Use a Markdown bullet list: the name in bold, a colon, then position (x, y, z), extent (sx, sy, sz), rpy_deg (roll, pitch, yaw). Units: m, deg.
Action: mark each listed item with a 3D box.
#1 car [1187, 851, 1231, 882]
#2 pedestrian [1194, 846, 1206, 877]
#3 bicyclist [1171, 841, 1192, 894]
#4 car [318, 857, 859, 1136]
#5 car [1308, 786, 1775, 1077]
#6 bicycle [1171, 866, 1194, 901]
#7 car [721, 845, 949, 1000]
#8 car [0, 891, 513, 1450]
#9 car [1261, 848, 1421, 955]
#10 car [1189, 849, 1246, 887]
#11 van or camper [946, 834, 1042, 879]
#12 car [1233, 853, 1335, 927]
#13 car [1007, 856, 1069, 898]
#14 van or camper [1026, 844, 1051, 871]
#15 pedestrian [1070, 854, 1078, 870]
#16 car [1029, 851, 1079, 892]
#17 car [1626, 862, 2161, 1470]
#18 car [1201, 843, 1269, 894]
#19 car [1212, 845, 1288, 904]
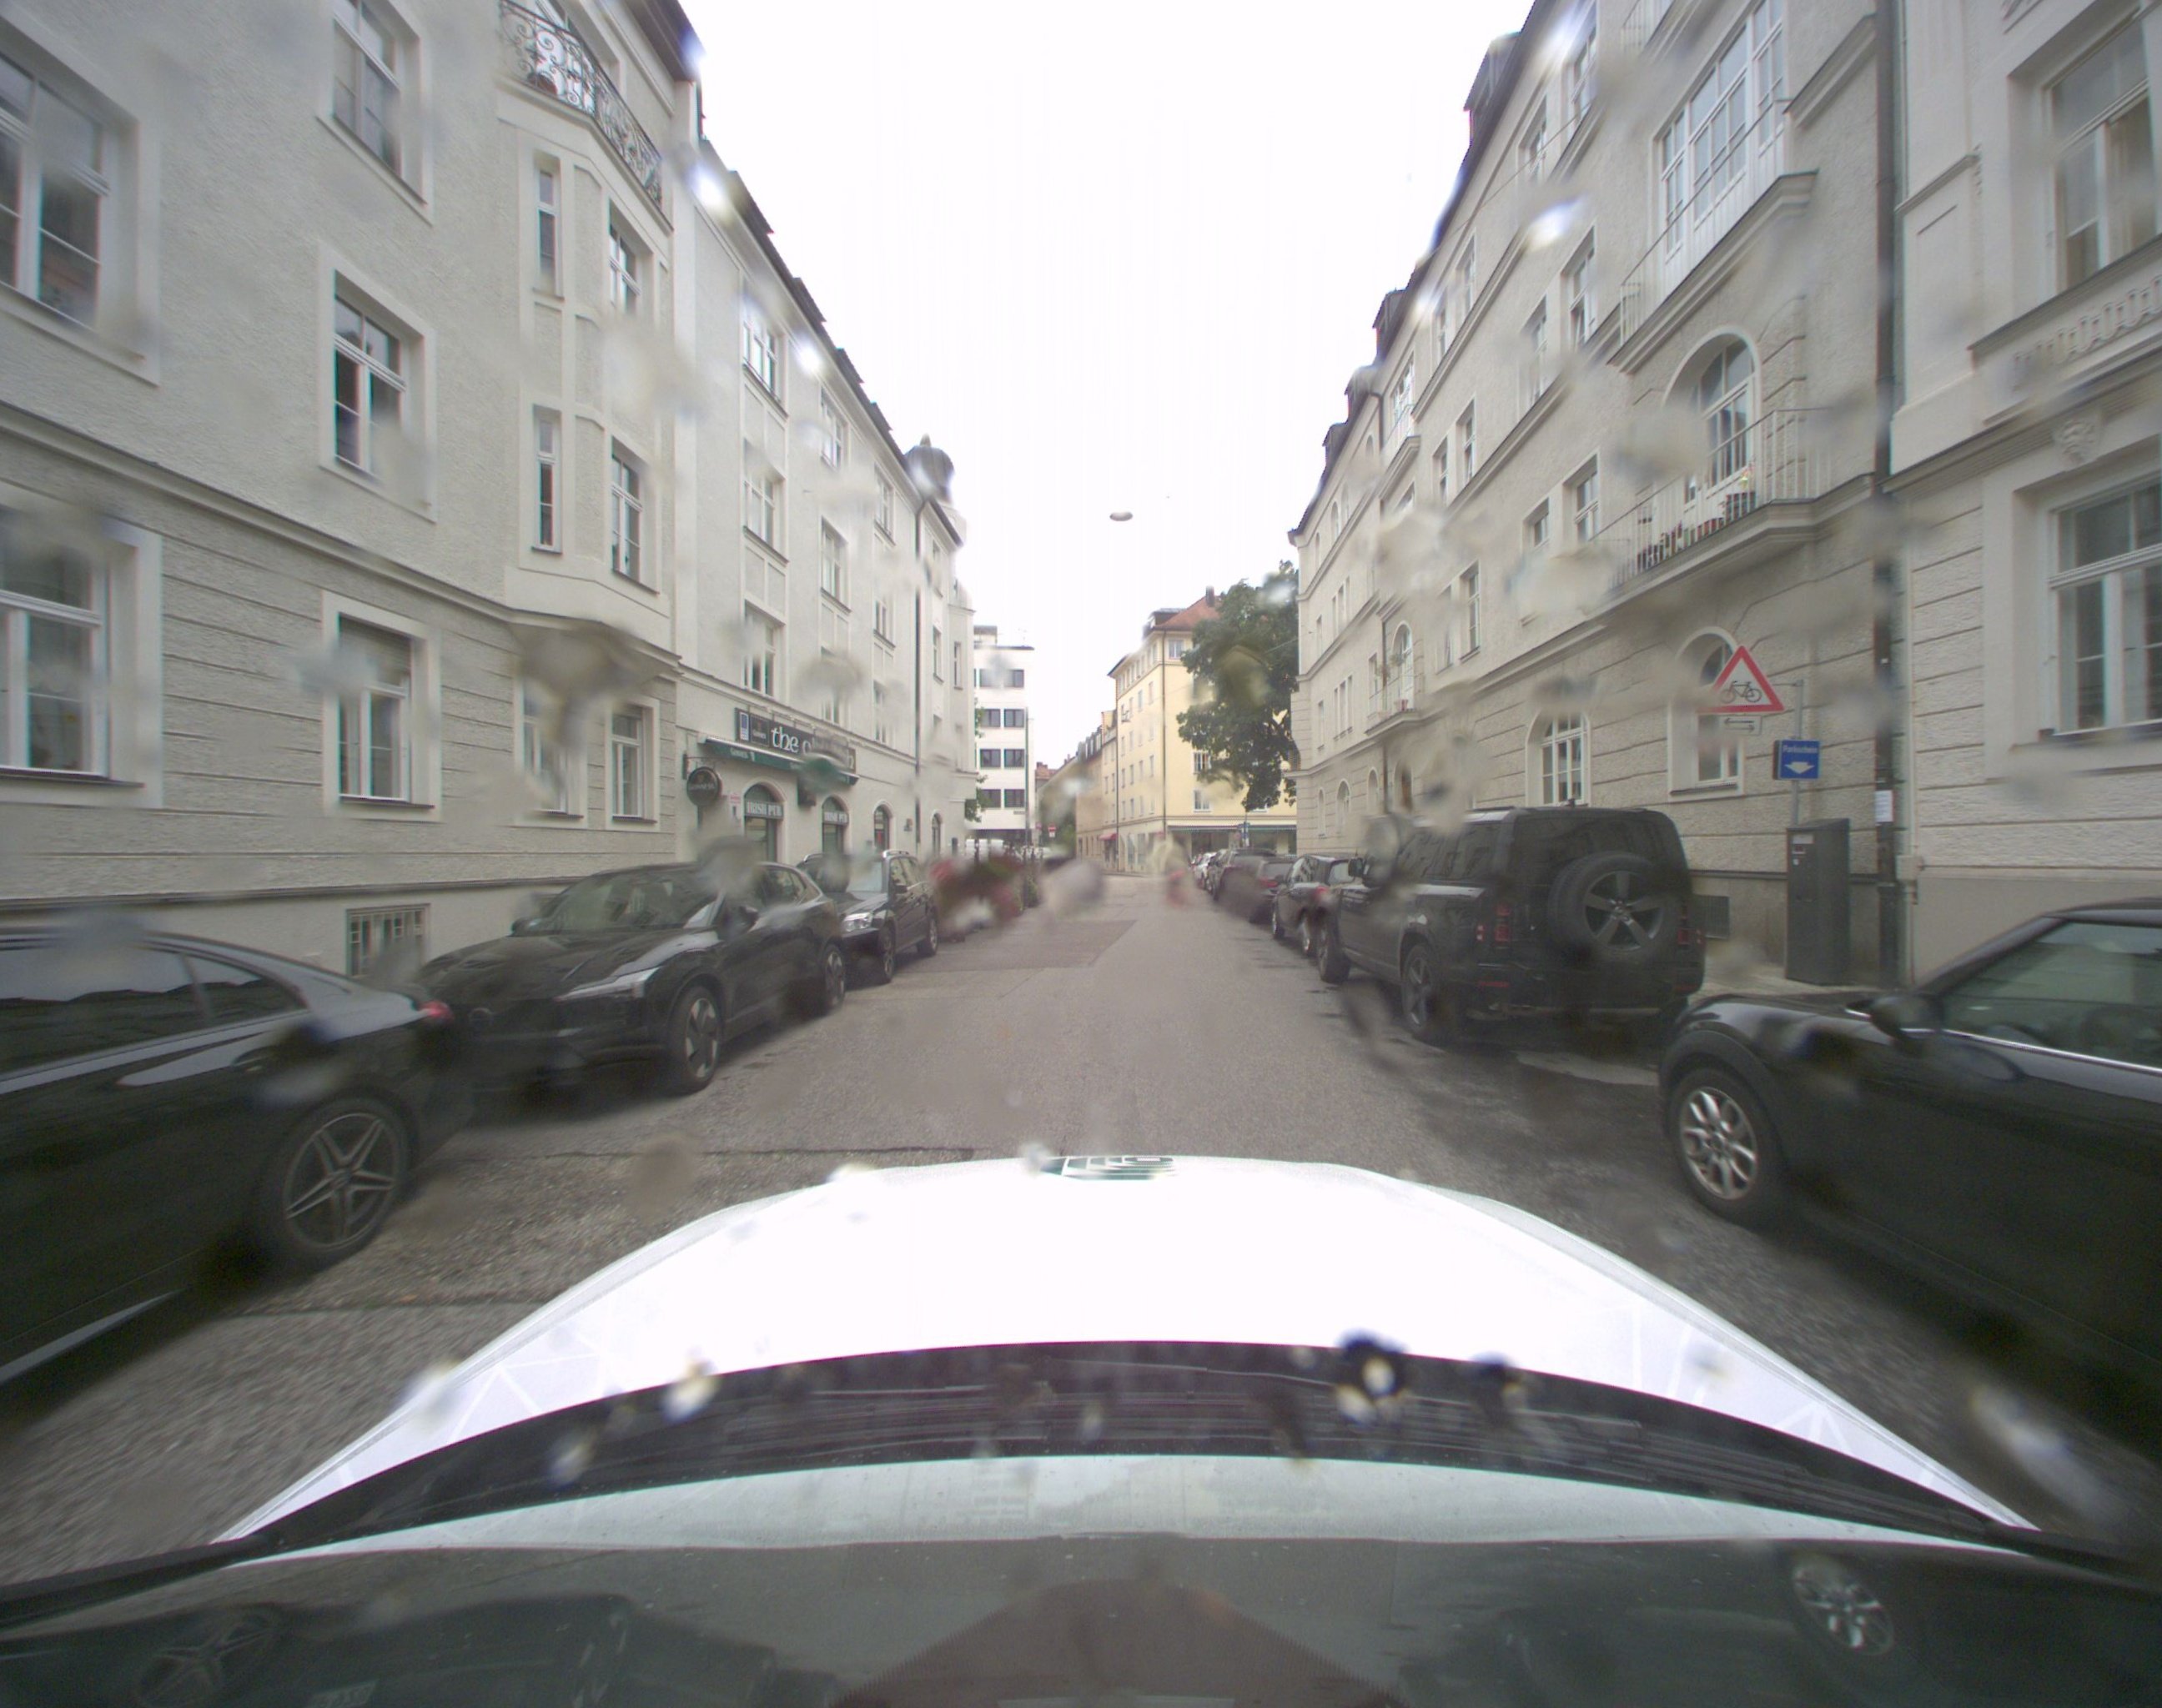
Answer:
- **car**: position (6.277, 0.585, 40.316), extent (1.662, 1.435, 4.216), rpy_deg (0, 0, 2)
- **pedestrian**: position (6.474, 0.414, 44.183), extent (0.607, 1.661, 0.552), rpy_deg (-1, 0, 6)
- **bicyclist**: position (3.088, 0.410, 24.998), extent (0.603, 1.606, 0.759), rpy_deg (-1, 0, 6)
- **car**: position (-3.334, 0.807, 6.652), extent (1.735, 1.486, 4.182), rpy_deg (-2, 0, 2)
- **car**: position (3.700, 0.501, 7.750), extent (1.903, 1.885, 4.716), rpy_deg (1, 0, 2)
- **bicycle**: position (3.091, 0.884, 24.915), extent (0.636, 1.004, 1.577), rpy_deg (-1, 0, 6)
- **car**: position (-3.186, 0.772, 11.522), extent (1.740, 1.673, 4.276), rpy_deg (-4, 0, 1)
- **car**: position (-3.789, 0.928, 1.914), extent (1.805, 1.385, 4.441), rpy_deg (-3, 0, -2)
- **car**: position (4.146, 0.674, 13.566), extent (1.648, 1.525, 3.639), rpy_deg (0, 0, 3)
- **car**: position (5.827, 0.571, 35.078), extent (1.745, 1.496, 3.908), rpy_deg (-1, 0, -1)
- **van or camper**: position (-5.497, 0.168, 51.654), extent (5.897, 2.677, 1.869), rpy_deg (-1, -2, -6)
- **car**: position (4.573, 0.737, 18.924), extent (1.698, 1.471, 4.208), rpy_deg (-1, 0, 6)
- **car**: position (-1.577, 0.838, 31.122), extent (1.698, 1.390, 4.007), rpy_deg (-3, 0, 6)
- **van or camper**: position (-4.181, 0.349, 79.419), extent (1.992, 2.540, 4.747), rpy_deg (-1, 0, -8)
- **pedestrian**: position (-0.800, 0.882, 92.930), extent (0.877, 1.778, 0.771), rpy_deg (-1, 0, -9)
- **car**: position (-1.125, 0.729, 35.439), extent (1.669, 1.597, 3.949), rpy_deg (-3, 0, 4)
- **car**: position (3.380, 0.751, 2.168), extent (1.656, 1.395, 3.586), rpy_deg (1, 0, 4)
- **car**: position (5.618, 0.495, 30.191), extent (1.783, 1.713, 4.428), rpy_deg (-1, 0, 2)
- **car**: position (5.005, 0.553, 24.662), extent (1.769, 1.636, 4.381), rpy_deg (0, 0, 5)
